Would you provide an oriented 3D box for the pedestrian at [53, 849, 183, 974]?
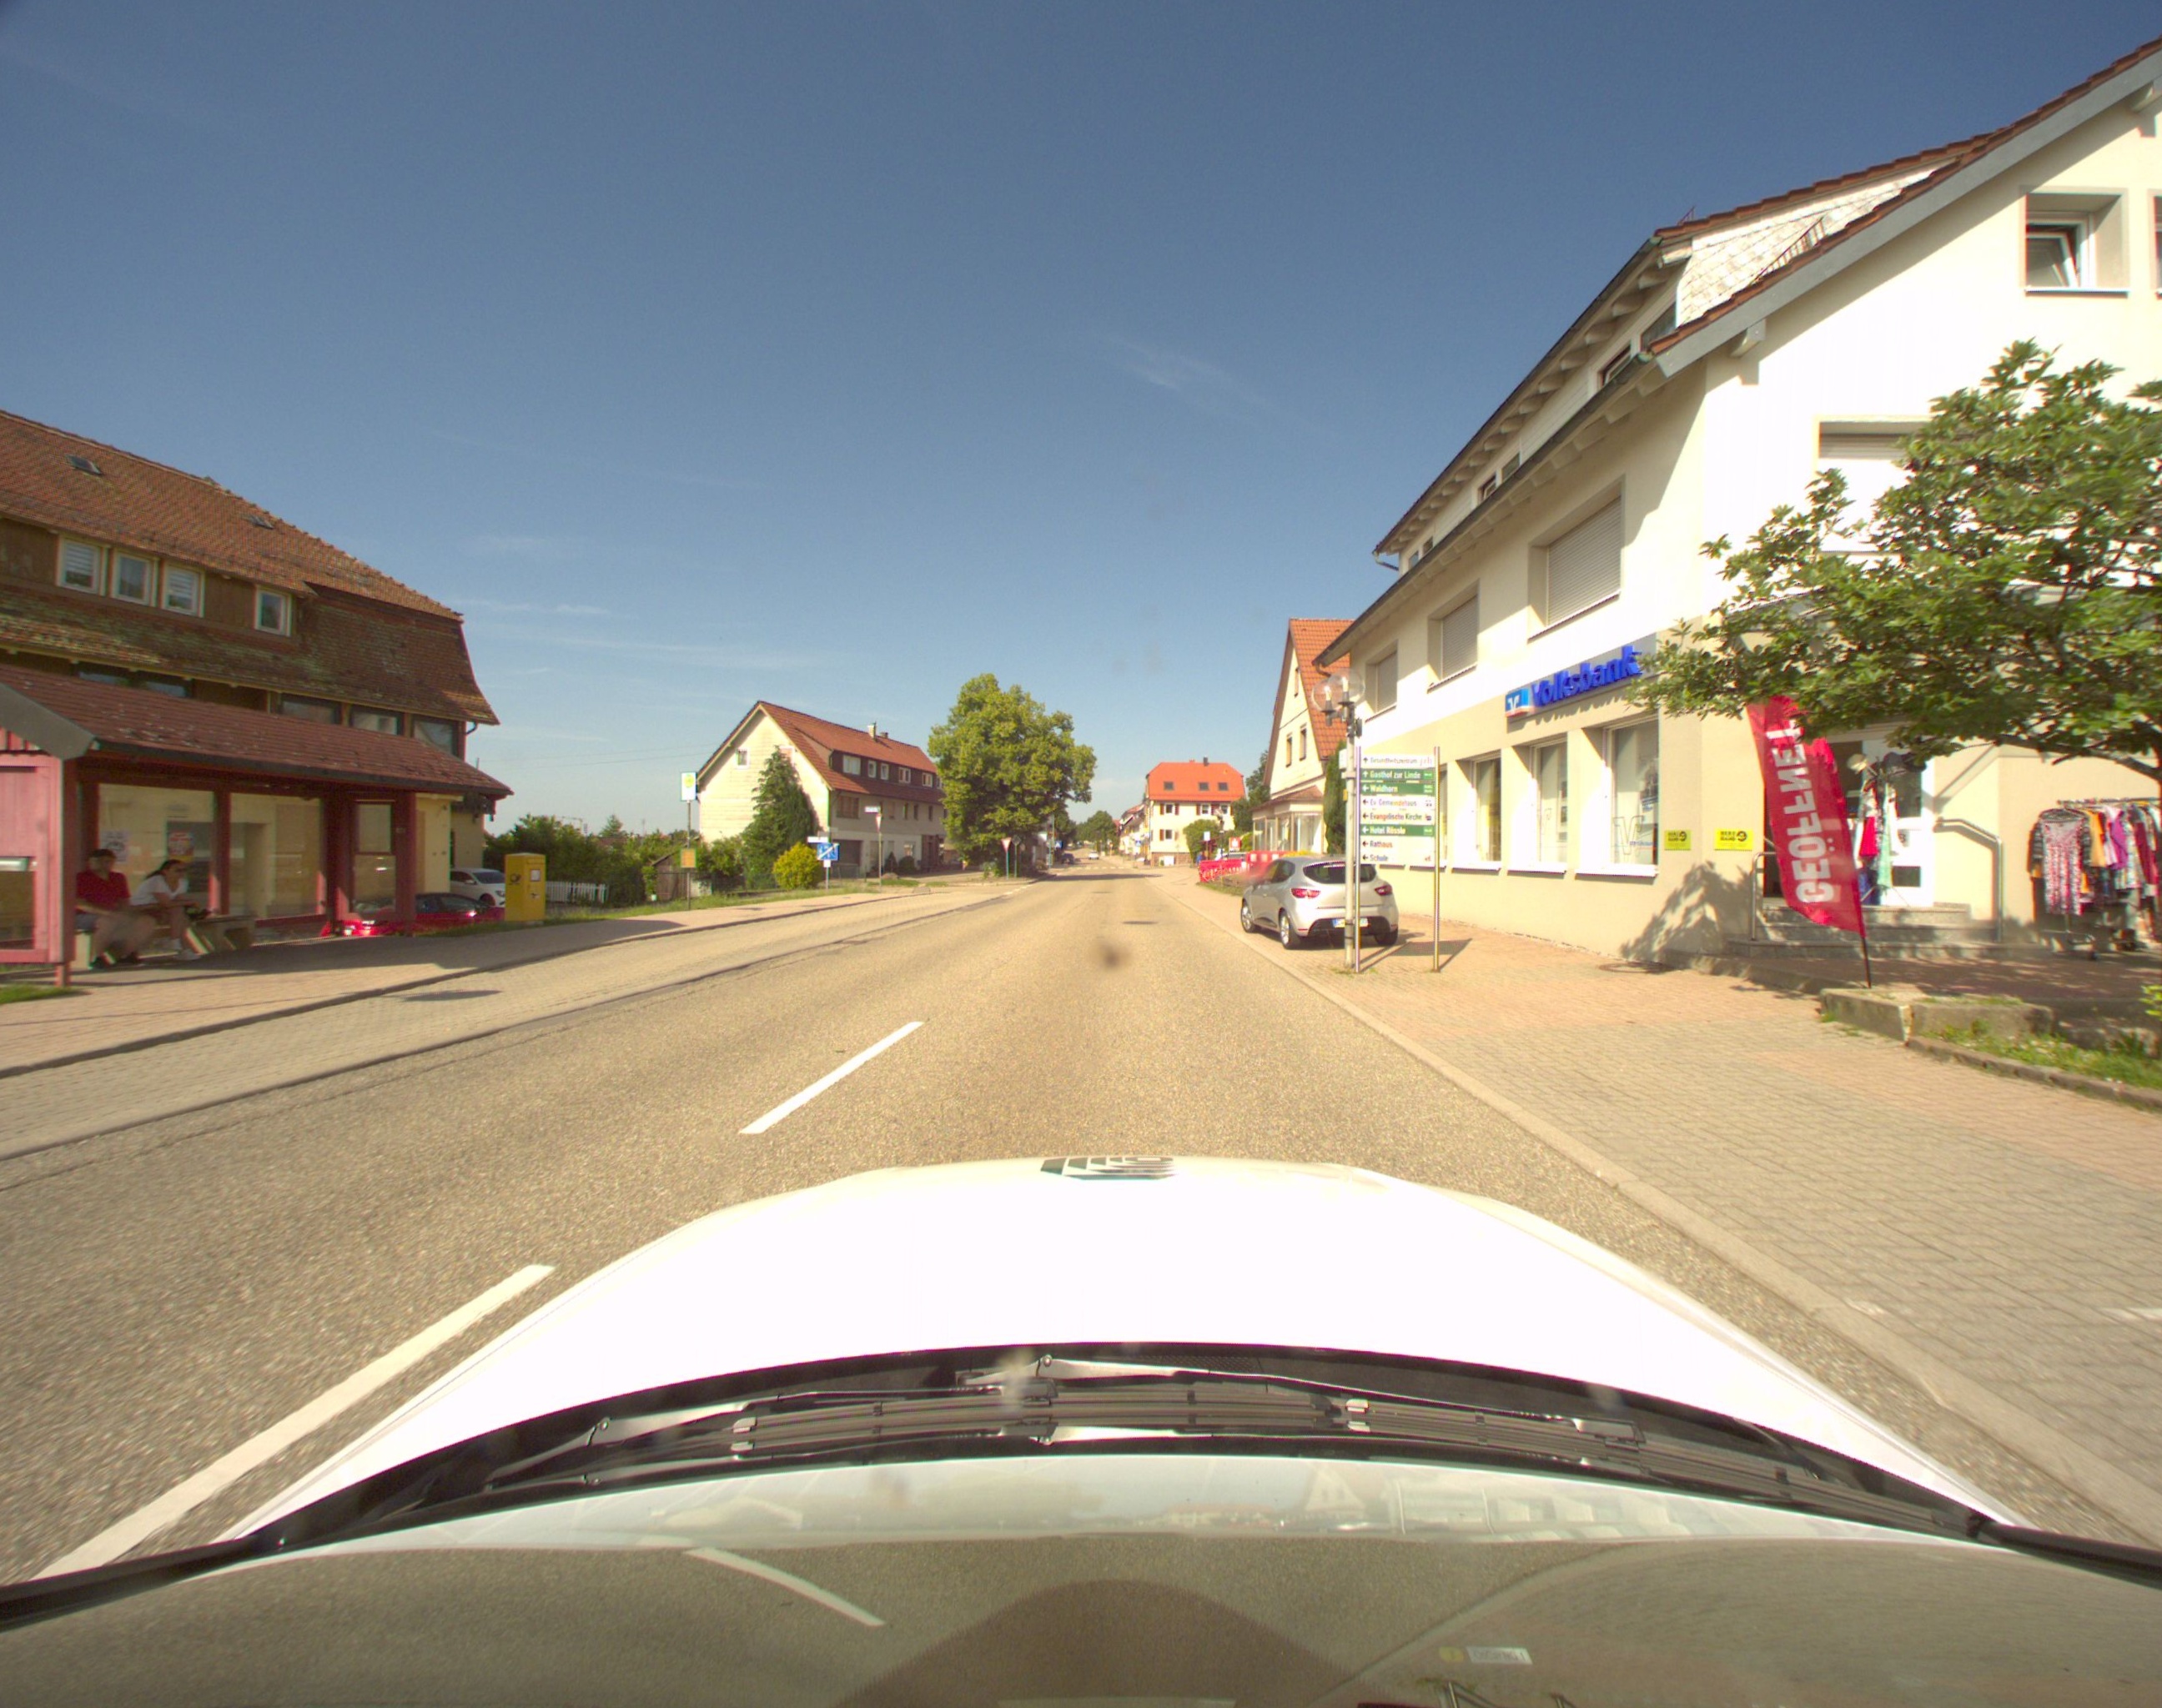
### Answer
[{"bbox_3d":[-11.163,0.646,9.468,0.615,1.364,0.674,-2,1,0],"label":"pedestrian"}]

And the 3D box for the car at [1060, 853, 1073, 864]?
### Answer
[{"bbox_3d":[-2.174,0.698,120.165,1.666,1.533,3.537,4,0,2],"label":"car"}]

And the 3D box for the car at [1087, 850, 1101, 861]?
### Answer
[{"bbox_3d":[2.535,0.236,160.281,2.489,2.013,4.300,-3,0,-3],"label":"car"}]

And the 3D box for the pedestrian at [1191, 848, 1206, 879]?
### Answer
[{"bbox_3d":[6.836,0.535,47.365,0.795,1.784,0.981,-1,0,7],"label":"pedestrian"}]

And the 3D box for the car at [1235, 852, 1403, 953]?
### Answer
[{"bbox_3d":[3.874,0.702,13.930,1.630,1.420,3.933,-2,0,-1],"label":"car"}]

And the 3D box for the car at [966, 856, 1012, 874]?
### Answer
[{"bbox_3d":[-8.439,1.022,74.441,3.732,1.455,1.824,-3,-5,13],"label":"car"}]

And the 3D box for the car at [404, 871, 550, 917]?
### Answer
[{"bbox_3d":[-21.833,1.418,29.498,4.273,1.511,1.805,1,-1,11],"label":"car"}]

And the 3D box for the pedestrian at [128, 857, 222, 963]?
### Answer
[{"bbox_3d":[-11.167,0.680,10.048,0.627,1.253,0.423,-2,0,-1],"label":"pedestrian"}]

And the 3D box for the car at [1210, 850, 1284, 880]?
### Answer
[{"bbox_3d":[9.046,0.583,44.360,3.834,1.558,1.971,0,0,14],"label":"car"}]

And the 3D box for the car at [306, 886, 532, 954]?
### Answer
[{"bbox_3d":[-16.043,1.547,20.027,1.707,1.297,4.018,-2,0,16],"label":"car"}]
